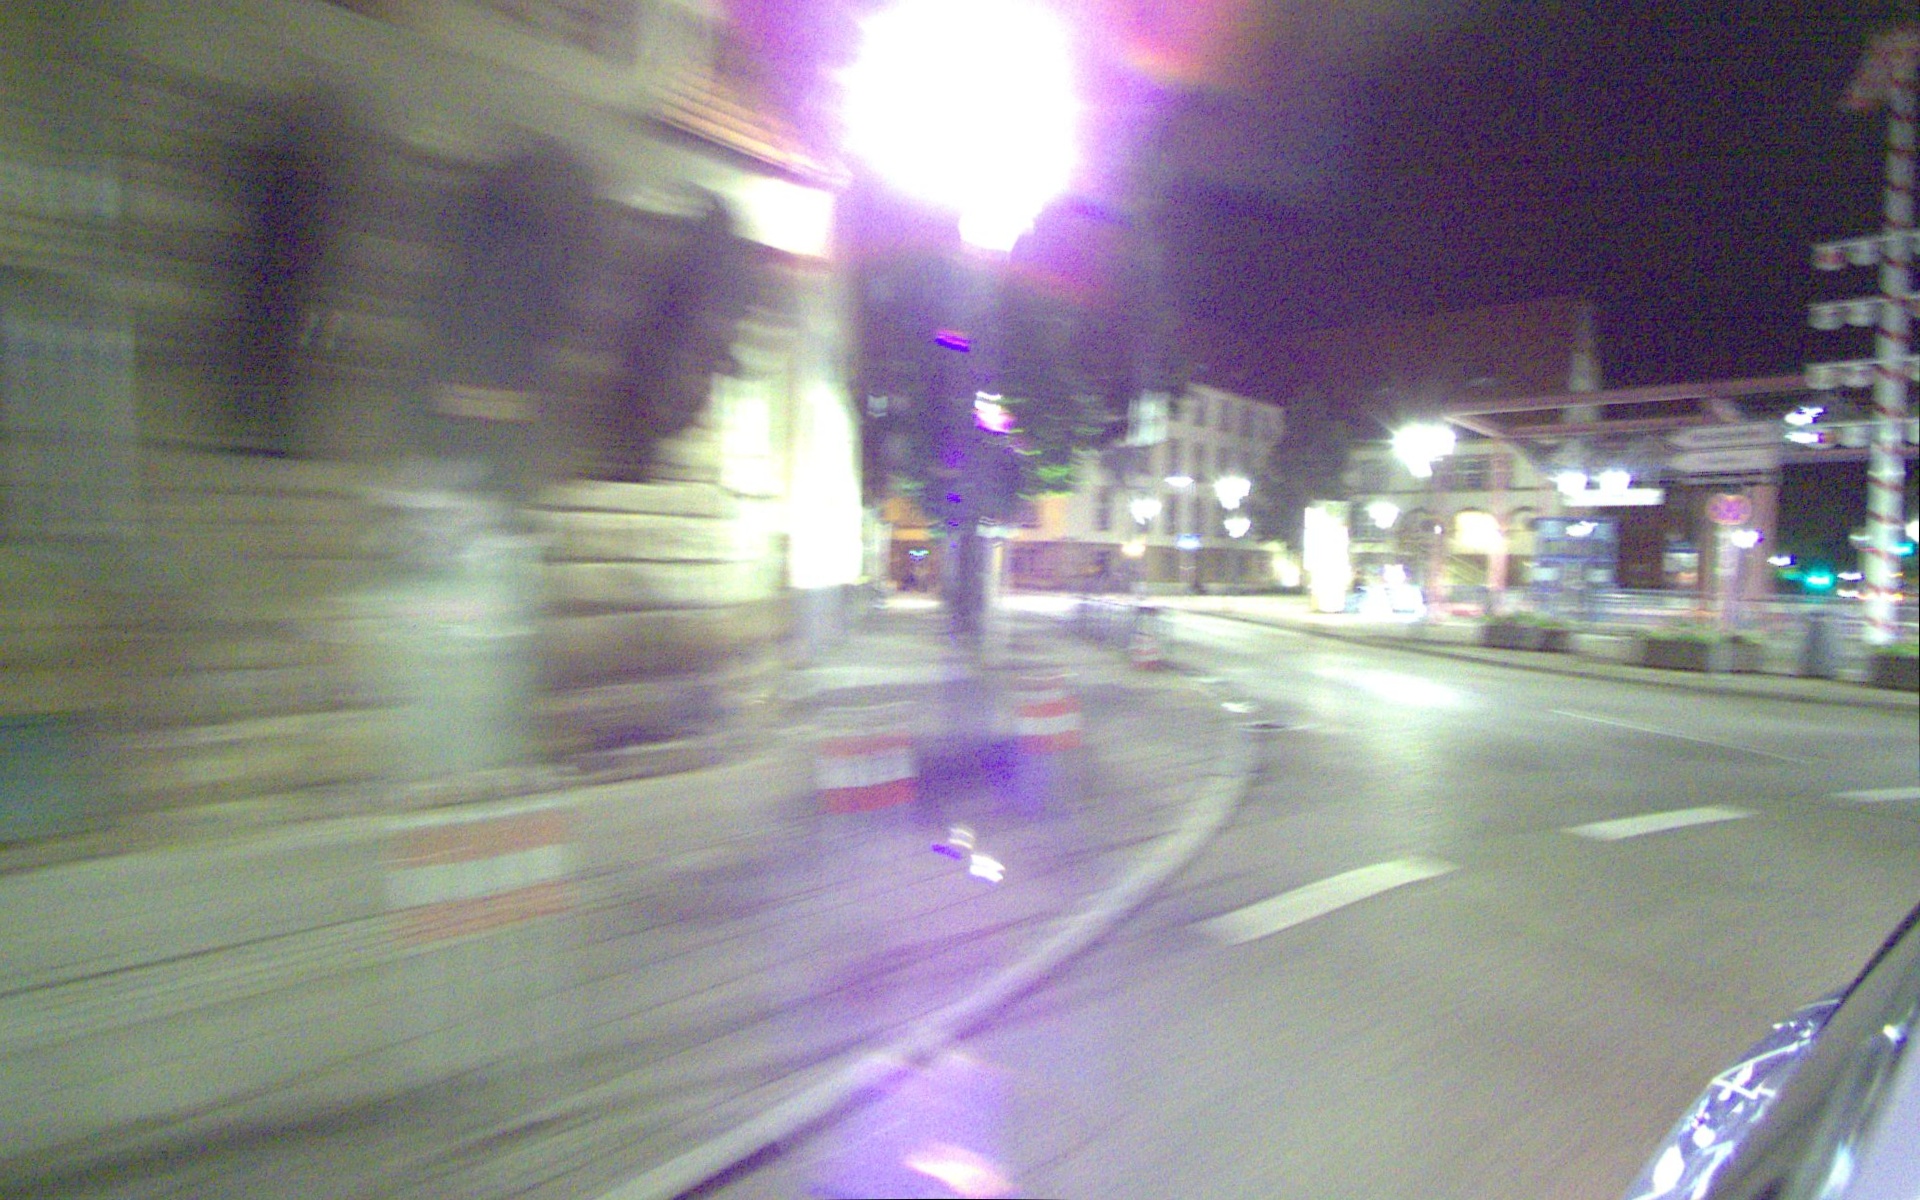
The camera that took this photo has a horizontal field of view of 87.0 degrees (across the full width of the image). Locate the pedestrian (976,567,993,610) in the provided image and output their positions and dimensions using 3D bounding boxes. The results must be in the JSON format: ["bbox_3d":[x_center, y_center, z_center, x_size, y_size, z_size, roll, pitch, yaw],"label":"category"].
[{"bbox_3d":[0.775,-0.368,31.861,0.505,1.315,0.466,1,2,0],"label":"pedestrian"}]
